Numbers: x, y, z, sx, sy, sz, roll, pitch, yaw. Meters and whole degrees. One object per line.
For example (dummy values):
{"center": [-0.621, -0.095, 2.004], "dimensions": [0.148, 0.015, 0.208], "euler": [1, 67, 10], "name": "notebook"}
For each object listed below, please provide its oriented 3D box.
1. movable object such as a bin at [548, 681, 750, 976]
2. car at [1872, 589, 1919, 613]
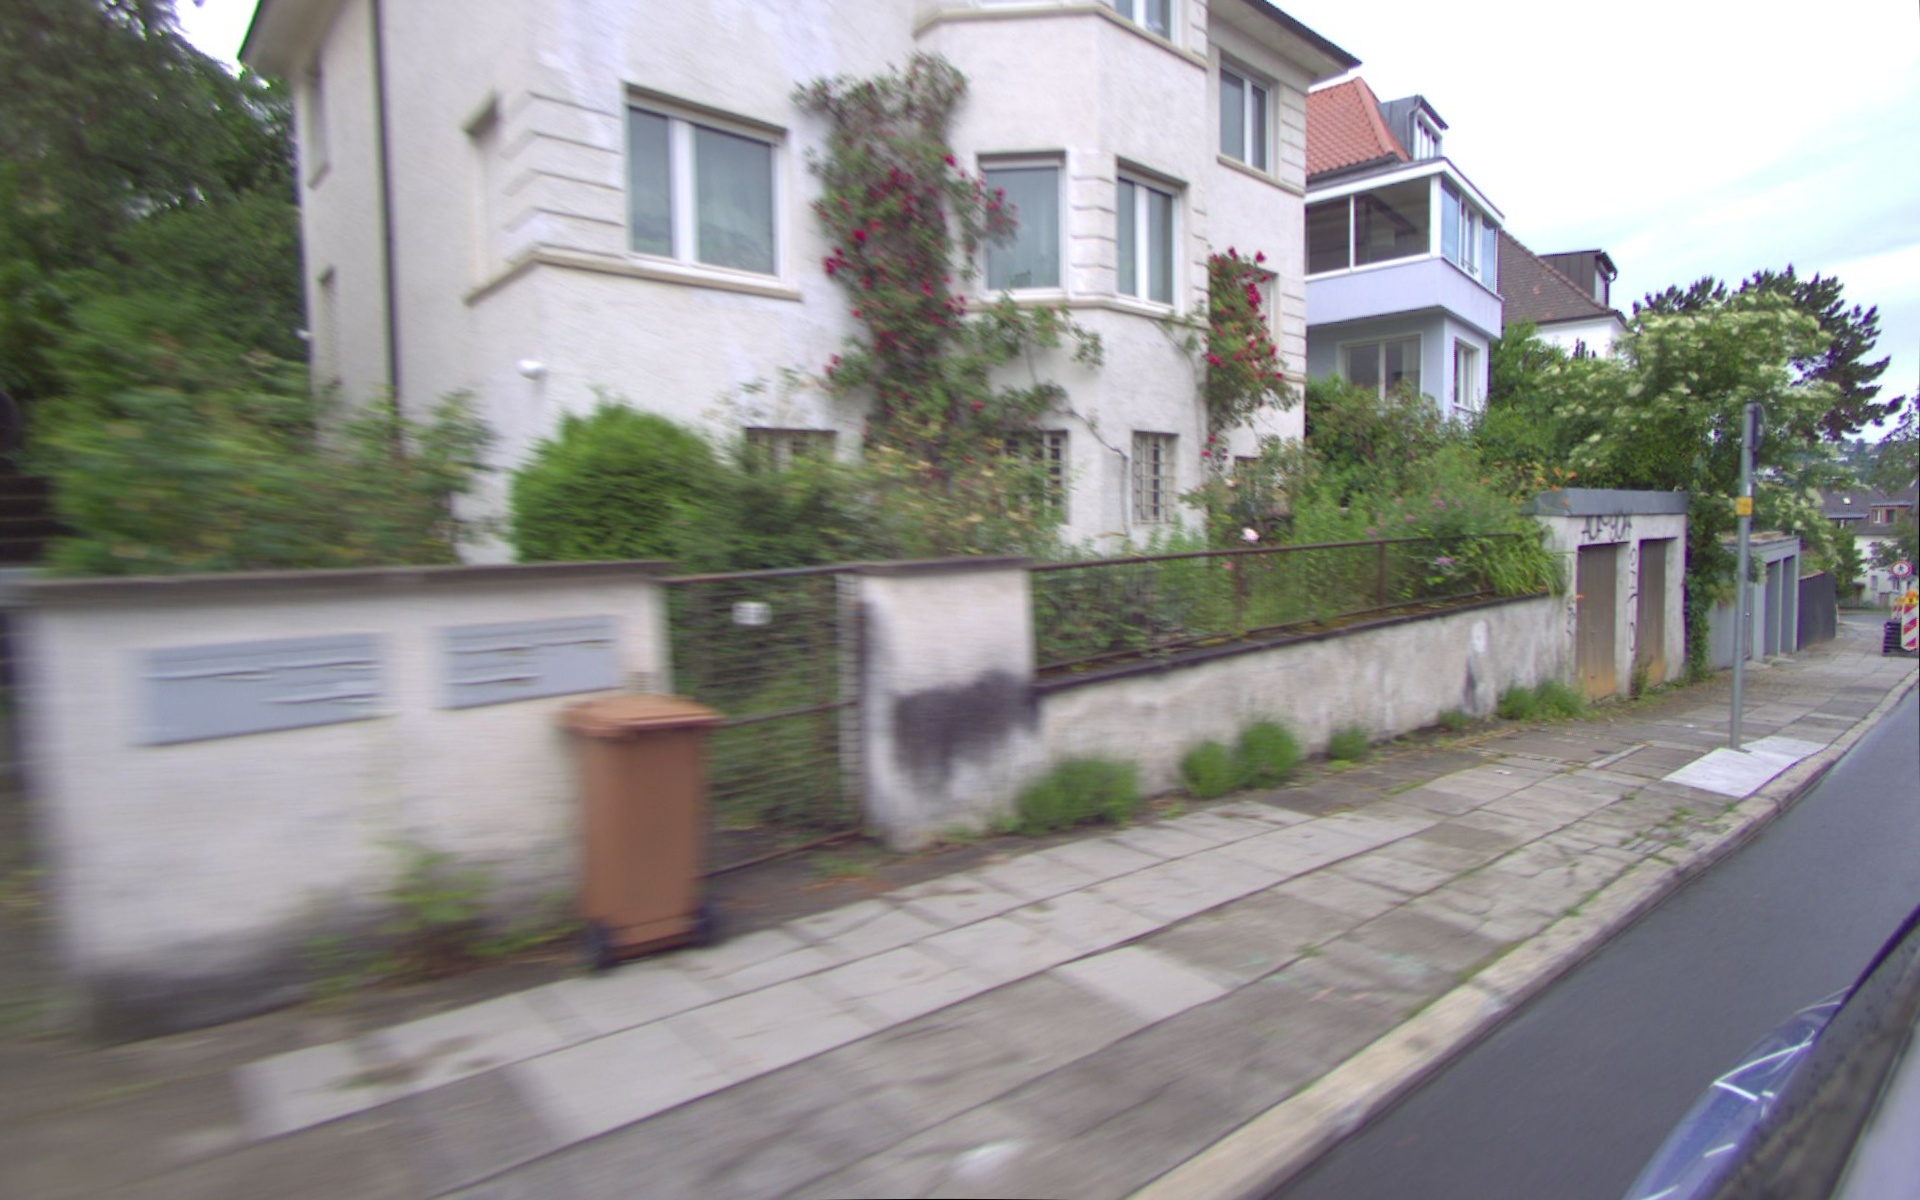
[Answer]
{"center": [-1.159, 0.791, 3.762], "dimensions": [0.518, 0.911, 0.569], "euler": [0, 0, -44], "name": "movable object such as a bin"}
{"center": [74.728, 0.108, 80.658], "dimensions": [1.981, 1.738, 3.961], "euler": [1, -2, 27], "name": "car"}
